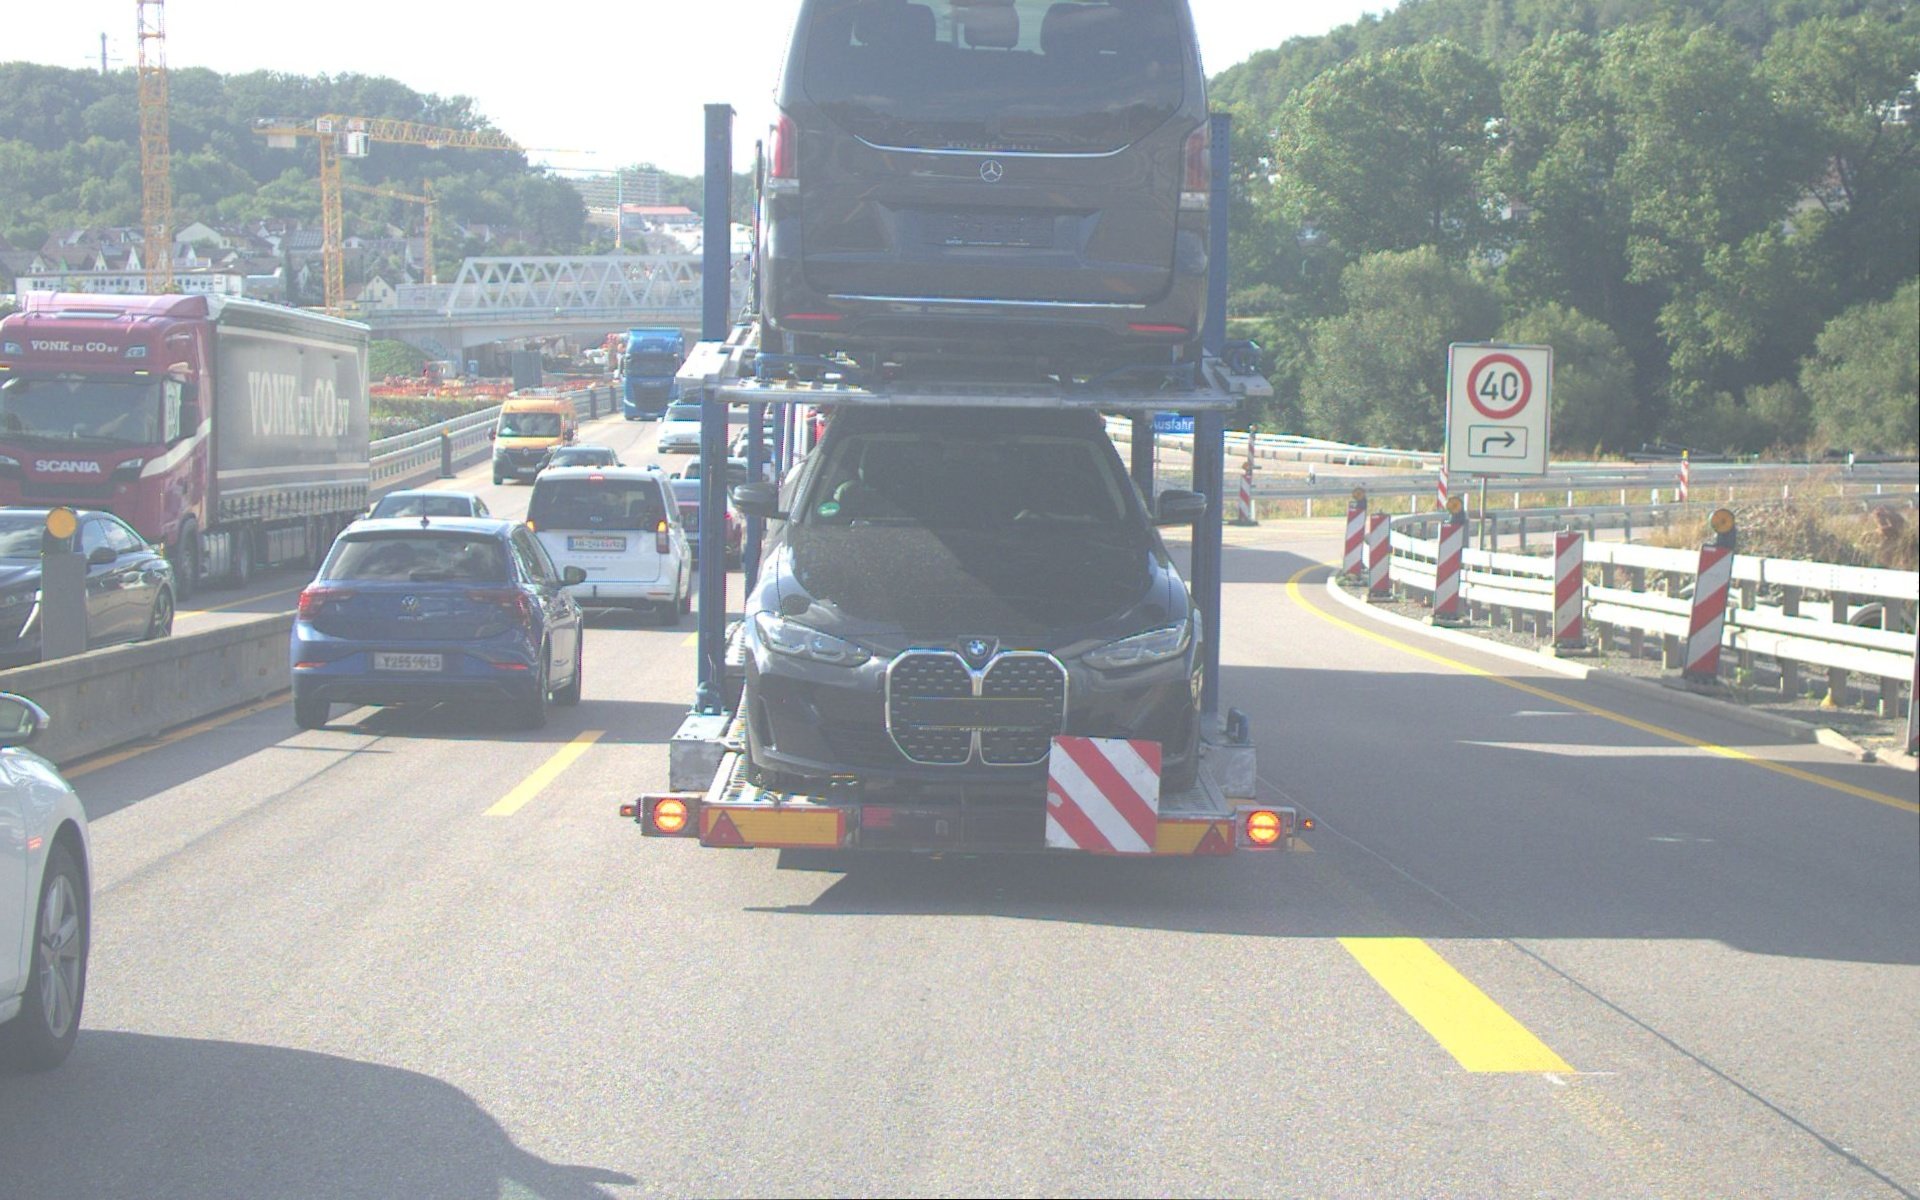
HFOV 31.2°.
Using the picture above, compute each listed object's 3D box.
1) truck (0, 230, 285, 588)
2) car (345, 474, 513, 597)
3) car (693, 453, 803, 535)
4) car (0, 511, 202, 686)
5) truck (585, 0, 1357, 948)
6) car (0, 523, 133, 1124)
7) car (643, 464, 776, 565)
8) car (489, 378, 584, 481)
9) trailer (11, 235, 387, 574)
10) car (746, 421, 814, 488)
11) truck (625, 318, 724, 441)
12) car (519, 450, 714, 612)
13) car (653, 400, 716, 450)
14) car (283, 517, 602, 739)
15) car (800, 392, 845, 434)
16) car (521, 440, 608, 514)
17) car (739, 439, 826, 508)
[{"bbox_3d":[-11.123,-2.481,45.994,2.914,4.372,6.287,2,2,-1],"label":"truck"},{"bbox_3d":[-7.541,-0.928,49.163,1.844,1.642,4.505,1,1,-2],"label":"car"},{"bbox_3d":[-4.384,-2.186,71.635,1.993,1.547,4.000,1,0,0],"label":"car"},{"bbox_3d":[-8.317,-0.074,30.659,1.821,1.435,4.613,1,1,4],"label":"car"},{"bbox_3d":[-0.099,-1.068,22.247,2.753,3.941,18.892,2,2,-1],"label":"truck"},{"bbox_3d":[-3.256,0.572,7.631,1.770,1.486,4.517,0,1,0],"label":"car"},{"bbox_3d":[-4.166,-1.407,57.759,1.993,1.551,4.401,1,0,-1],"label":"car"},{"bbox_3d":[-12.300,-4.936,100.204,1.993,2.869,6.065,1,2,0],"label":"car"},{"bbox_3d":[-11.280,-2.795,52.646,2.976,4.407,13.818,2,2,-2],"label":"trailer"},{"bbox_3d":[-5.903,-4.770,113.165,1.993,2.007,4.000,1,0,0],"label":"car"},{"bbox_3d":[-13.076,-10.026,158.297,2.822,4.772,13.053,1,0,3],"label":"truck"},{"bbox_3d":[-3.985,-0.767,40.456,1.823,1.786,4.000,1,0,1],"label":"car"},{"bbox_3d":[-9.770,-6.198,122.090,1.993,1.678,4.001,1,2,-1],"label":"car"},{"bbox_3d":[-3.599,0.140,24.528,1.722,1.417,4.000,1,1,-1],"label":"car"},{"bbox_3d":[-5.980,-8.098,149.287,1.844,1.642,4.505,1,1,-3],"label":"car"},{"bbox_3d":[-9.139,-2.827,79.662,1.844,1.642,4.237,1,1,-5],"label":"car"},{"bbox_3d":[-4.597,-3.275,89.548,1.993,1.660,4.000,1,0,1],"label":"car"}]
